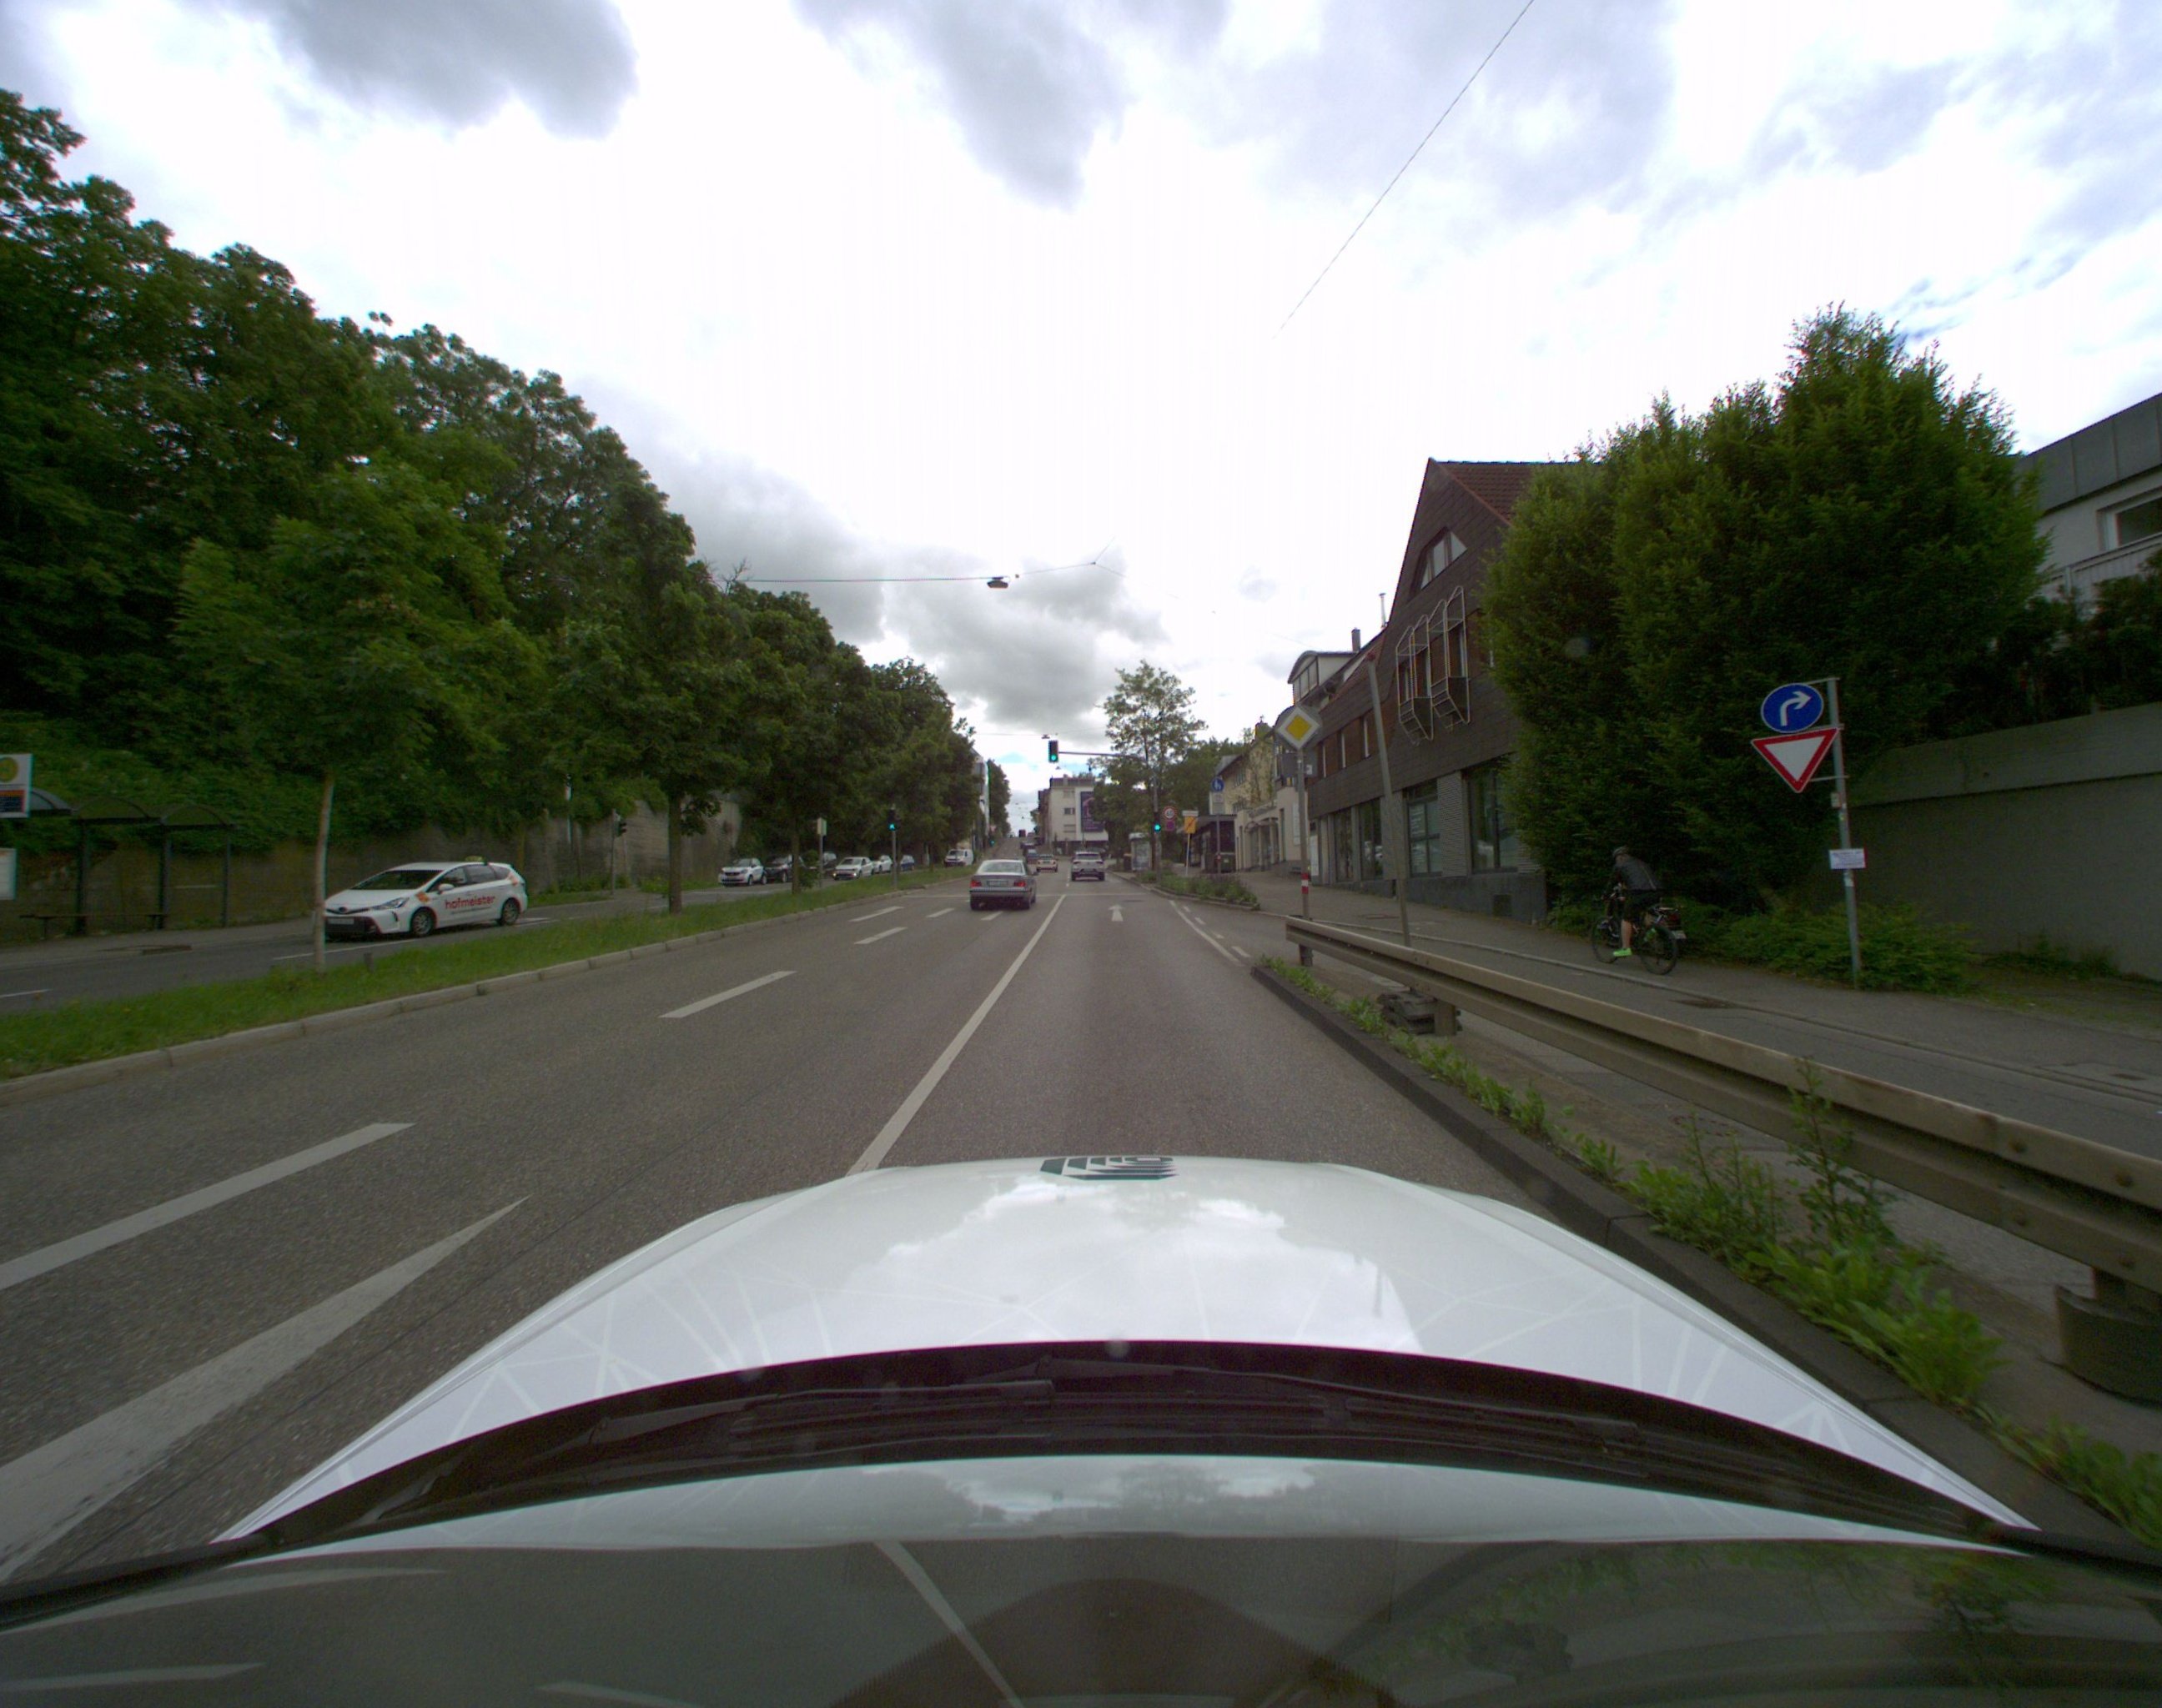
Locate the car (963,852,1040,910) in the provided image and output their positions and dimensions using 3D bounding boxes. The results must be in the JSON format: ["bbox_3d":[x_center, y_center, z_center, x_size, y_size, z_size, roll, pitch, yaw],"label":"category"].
[{"bbox_3d":[-2.183,0.707,23.373,1.700,1.464,4.002,0,1,2],"label":"car"}]

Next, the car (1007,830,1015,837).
[{"bbox_3d":[-18.030,-5.369,210.183,1.879,1.567,4.383,-1,3,-4],"label":"car"}]

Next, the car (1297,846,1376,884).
[{"bbox_3d":[11.871,0.512,37.908,2.987,1.463,1.663,5,1,-7],"label":"car"}]

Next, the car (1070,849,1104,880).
[{"bbox_3d":[0.302,0.541,44.784,1.775,1.579,3.998,0,1,-1],"label":"car"}]

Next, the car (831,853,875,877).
[{"bbox_3d":[-14.718,0.695,52.705,1.723,1.428,3.791,0,1,1],"label":"car"}]

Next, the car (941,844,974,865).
[{"bbox_3d":[-11.945,0.039,79.212,1.928,1.957,5.031,0,1,6],"label":"car"}]

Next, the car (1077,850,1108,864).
[{"bbox_3d":[1.778,0.425,126.849,4.679,1.712,2.316,3,3,-5],"label":"car"}]

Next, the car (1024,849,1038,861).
[{"bbox_3d":[-6.497,0.101,106.049,1.776,1.579,3.994,0,1,-4],"label":"car"}]

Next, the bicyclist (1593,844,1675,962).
[{"bbox_3d":[7.951,0.670,11.742,0.536,1.633,0.947,0,0,0],"label":"bicyclist"}]

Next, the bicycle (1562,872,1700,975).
[{"bbox_3d":[7.970,0.958,11.924,0.569,1.262,2.038,-4,1,0],"label":"bicycle"}]

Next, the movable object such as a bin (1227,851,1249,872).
[{"bbox_3d":[10.964,0.494,56.774,1.335,1.409,1.128,-1,0,1],"label":"movable object such as a bin"}]

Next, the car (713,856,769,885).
[{"bbox_3d":[-18.260,0.865,43.868,1.775,1.498,3.096,0,1,-1],"label":"car"}]

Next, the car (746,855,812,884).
[{"bbox_3d":[-17.916,0.875,48.571,1.961,1.656,4.537,0,0,4],"label":"car"}]

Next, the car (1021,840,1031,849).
[{"bbox_3d":[-10.191,-1.787,150.307,1.776,1.579,3.994,0,1,-4],"label":"car"}]

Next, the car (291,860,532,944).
[{"bbox_3d":[-14.684,0.962,18.266,1.775,1.560,4.457,0,1,-1],"label":"car"}]

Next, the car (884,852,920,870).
[{"bbox_3d":[-15.895,0.611,72.536,1.702,1.528,4.311,0,1,8],"label":"car"}]

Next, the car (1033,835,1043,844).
[{"bbox_3d":[-8.537,-2.827,161.425,2.085,1.613,3.996,-1,0,-3],"label":"car"}]

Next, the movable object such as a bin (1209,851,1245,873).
[{"bbox_3d":[9.979,0.503,55.798,1.881,1.451,4.002,-1,0,2],"label":"movable object such as a bin"}]

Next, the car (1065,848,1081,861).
[{"bbox_3d":[-0.896,0.074,92.358,1.774,1.436,3.999,0,1,0],"label":"car"}]

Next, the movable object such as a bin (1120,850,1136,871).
[{"bbox_3d":[3.390,0.492,59.281,1.082,1.481,1.537,-1,0,0],"label":"movable object such as a bin"}]

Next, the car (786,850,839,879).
[{"bbox_3d":[-17.588,0.652,53.599,1.772,1.843,4.492,0,1,3],"label":"car"}]

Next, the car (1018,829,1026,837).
[{"bbox_3d":[-15.348,-5.560,212.978,1.990,2.013,3.994,0,1,-4],"label":"car"}]

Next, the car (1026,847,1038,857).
[{"bbox_3d":[-7.639,-0.352,127.450,1.776,1.579,3.994,0,1,-4],"label":"car"}]

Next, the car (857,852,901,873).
[{"bbox_3d":[-16.537,0.695,66.823,1.767,1.629,4.186,0,1,13],"label":"car"}]

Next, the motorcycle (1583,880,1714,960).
[{"bbox_3d":[8.793,0.978,12.738,0.693,1.051,1.968,-2,0,2],"label":"motorcycle"}]

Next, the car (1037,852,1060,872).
[{"bbox_3d":[-2.703,0.672,67.753,1.776,1.579,3.994,0,1,-4],"label":"car"}]
